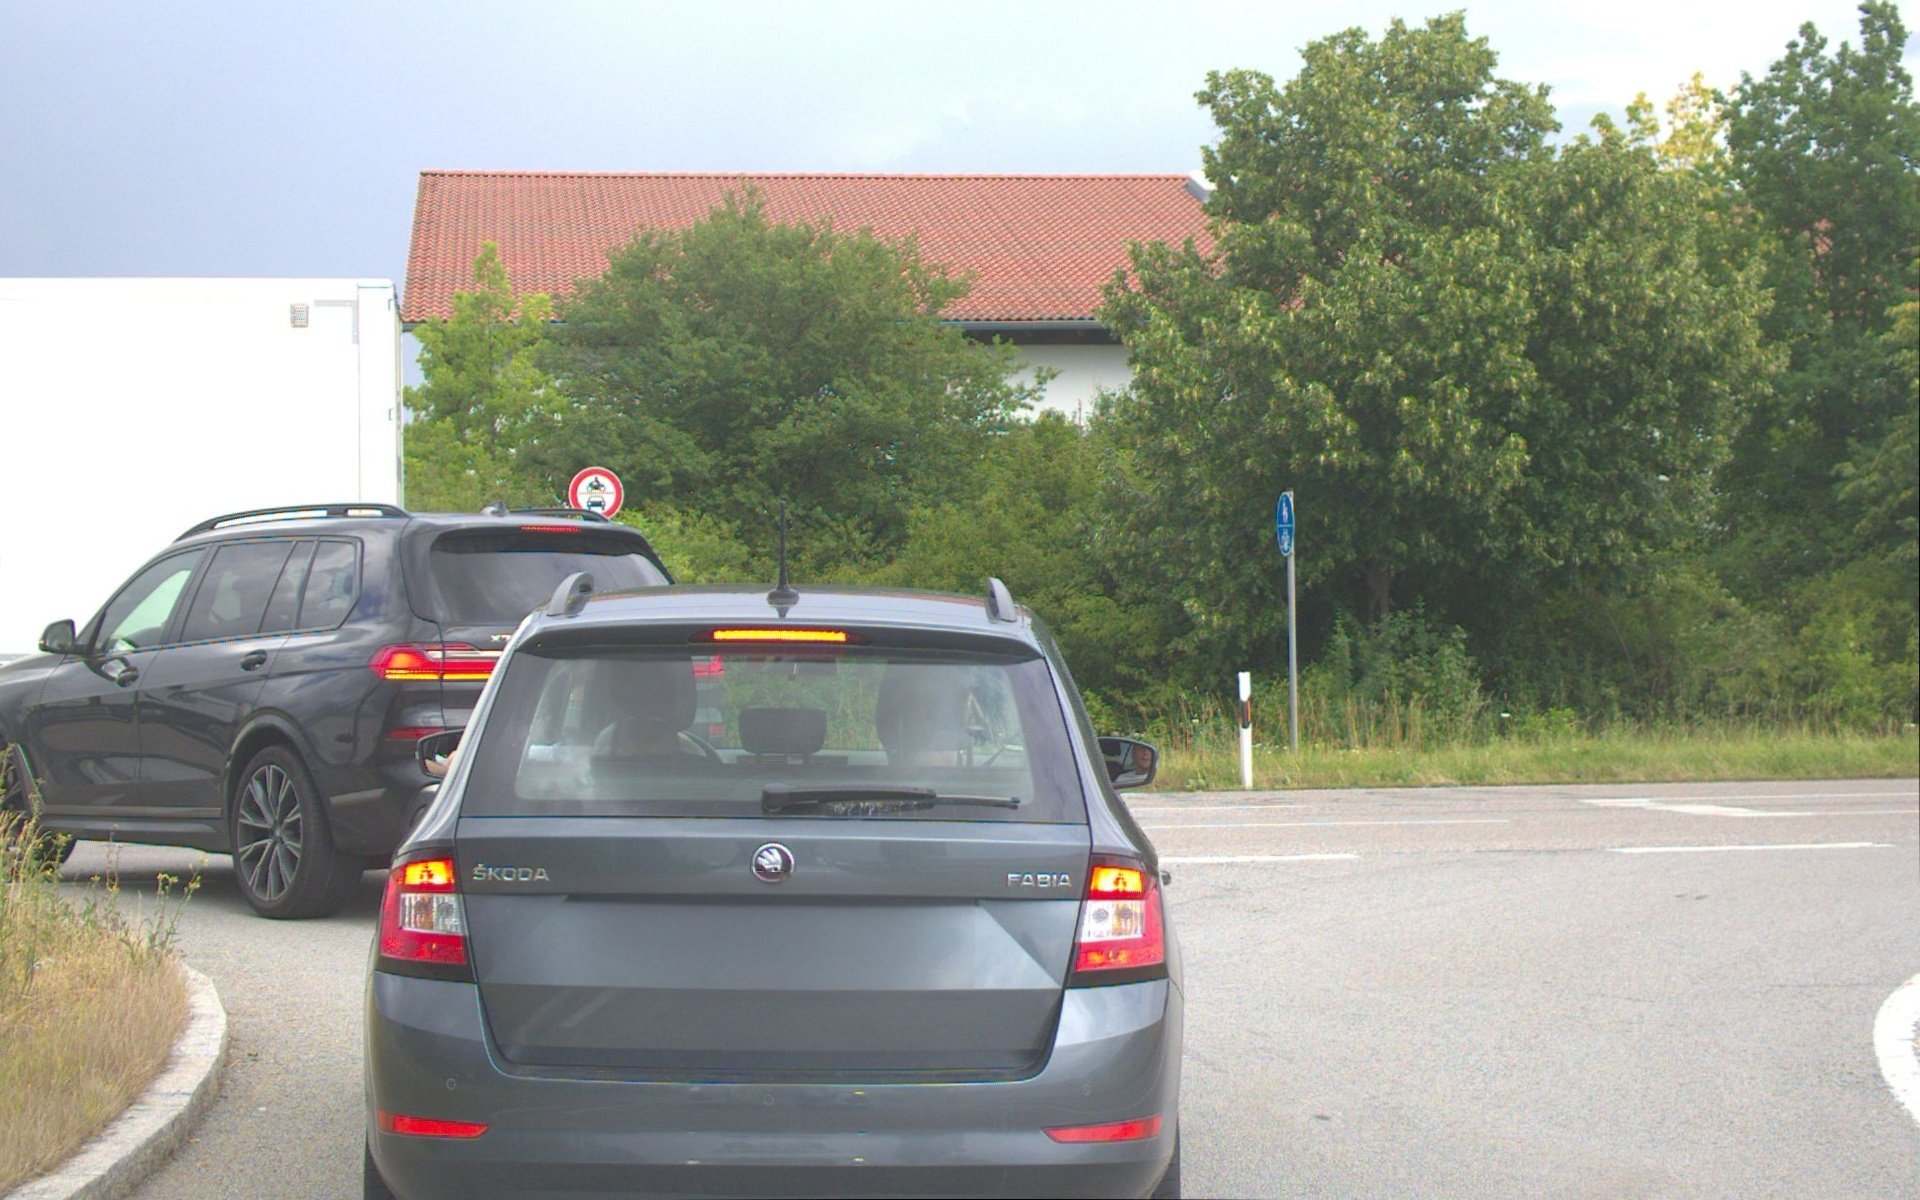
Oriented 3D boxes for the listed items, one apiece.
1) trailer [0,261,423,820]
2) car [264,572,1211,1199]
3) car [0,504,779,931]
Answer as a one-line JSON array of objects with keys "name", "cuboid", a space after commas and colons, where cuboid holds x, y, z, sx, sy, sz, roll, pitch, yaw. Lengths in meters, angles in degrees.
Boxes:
[{"name": "trailer", "cuboid": [-11.059, -0.351, 25.636, 13.838, 4.001, 3.129, -1, -1, -8]}, {"name": "car", "cuboid": [-0.500, 0.683, 7.963, 1.676, 1.457, 3.708, 0, 1, -3]}, {"name": "car", "cuboid": [-3.048, 0.506, 16.668, 1.994, 1.768, 4.642, 0, -1, -39]}]
